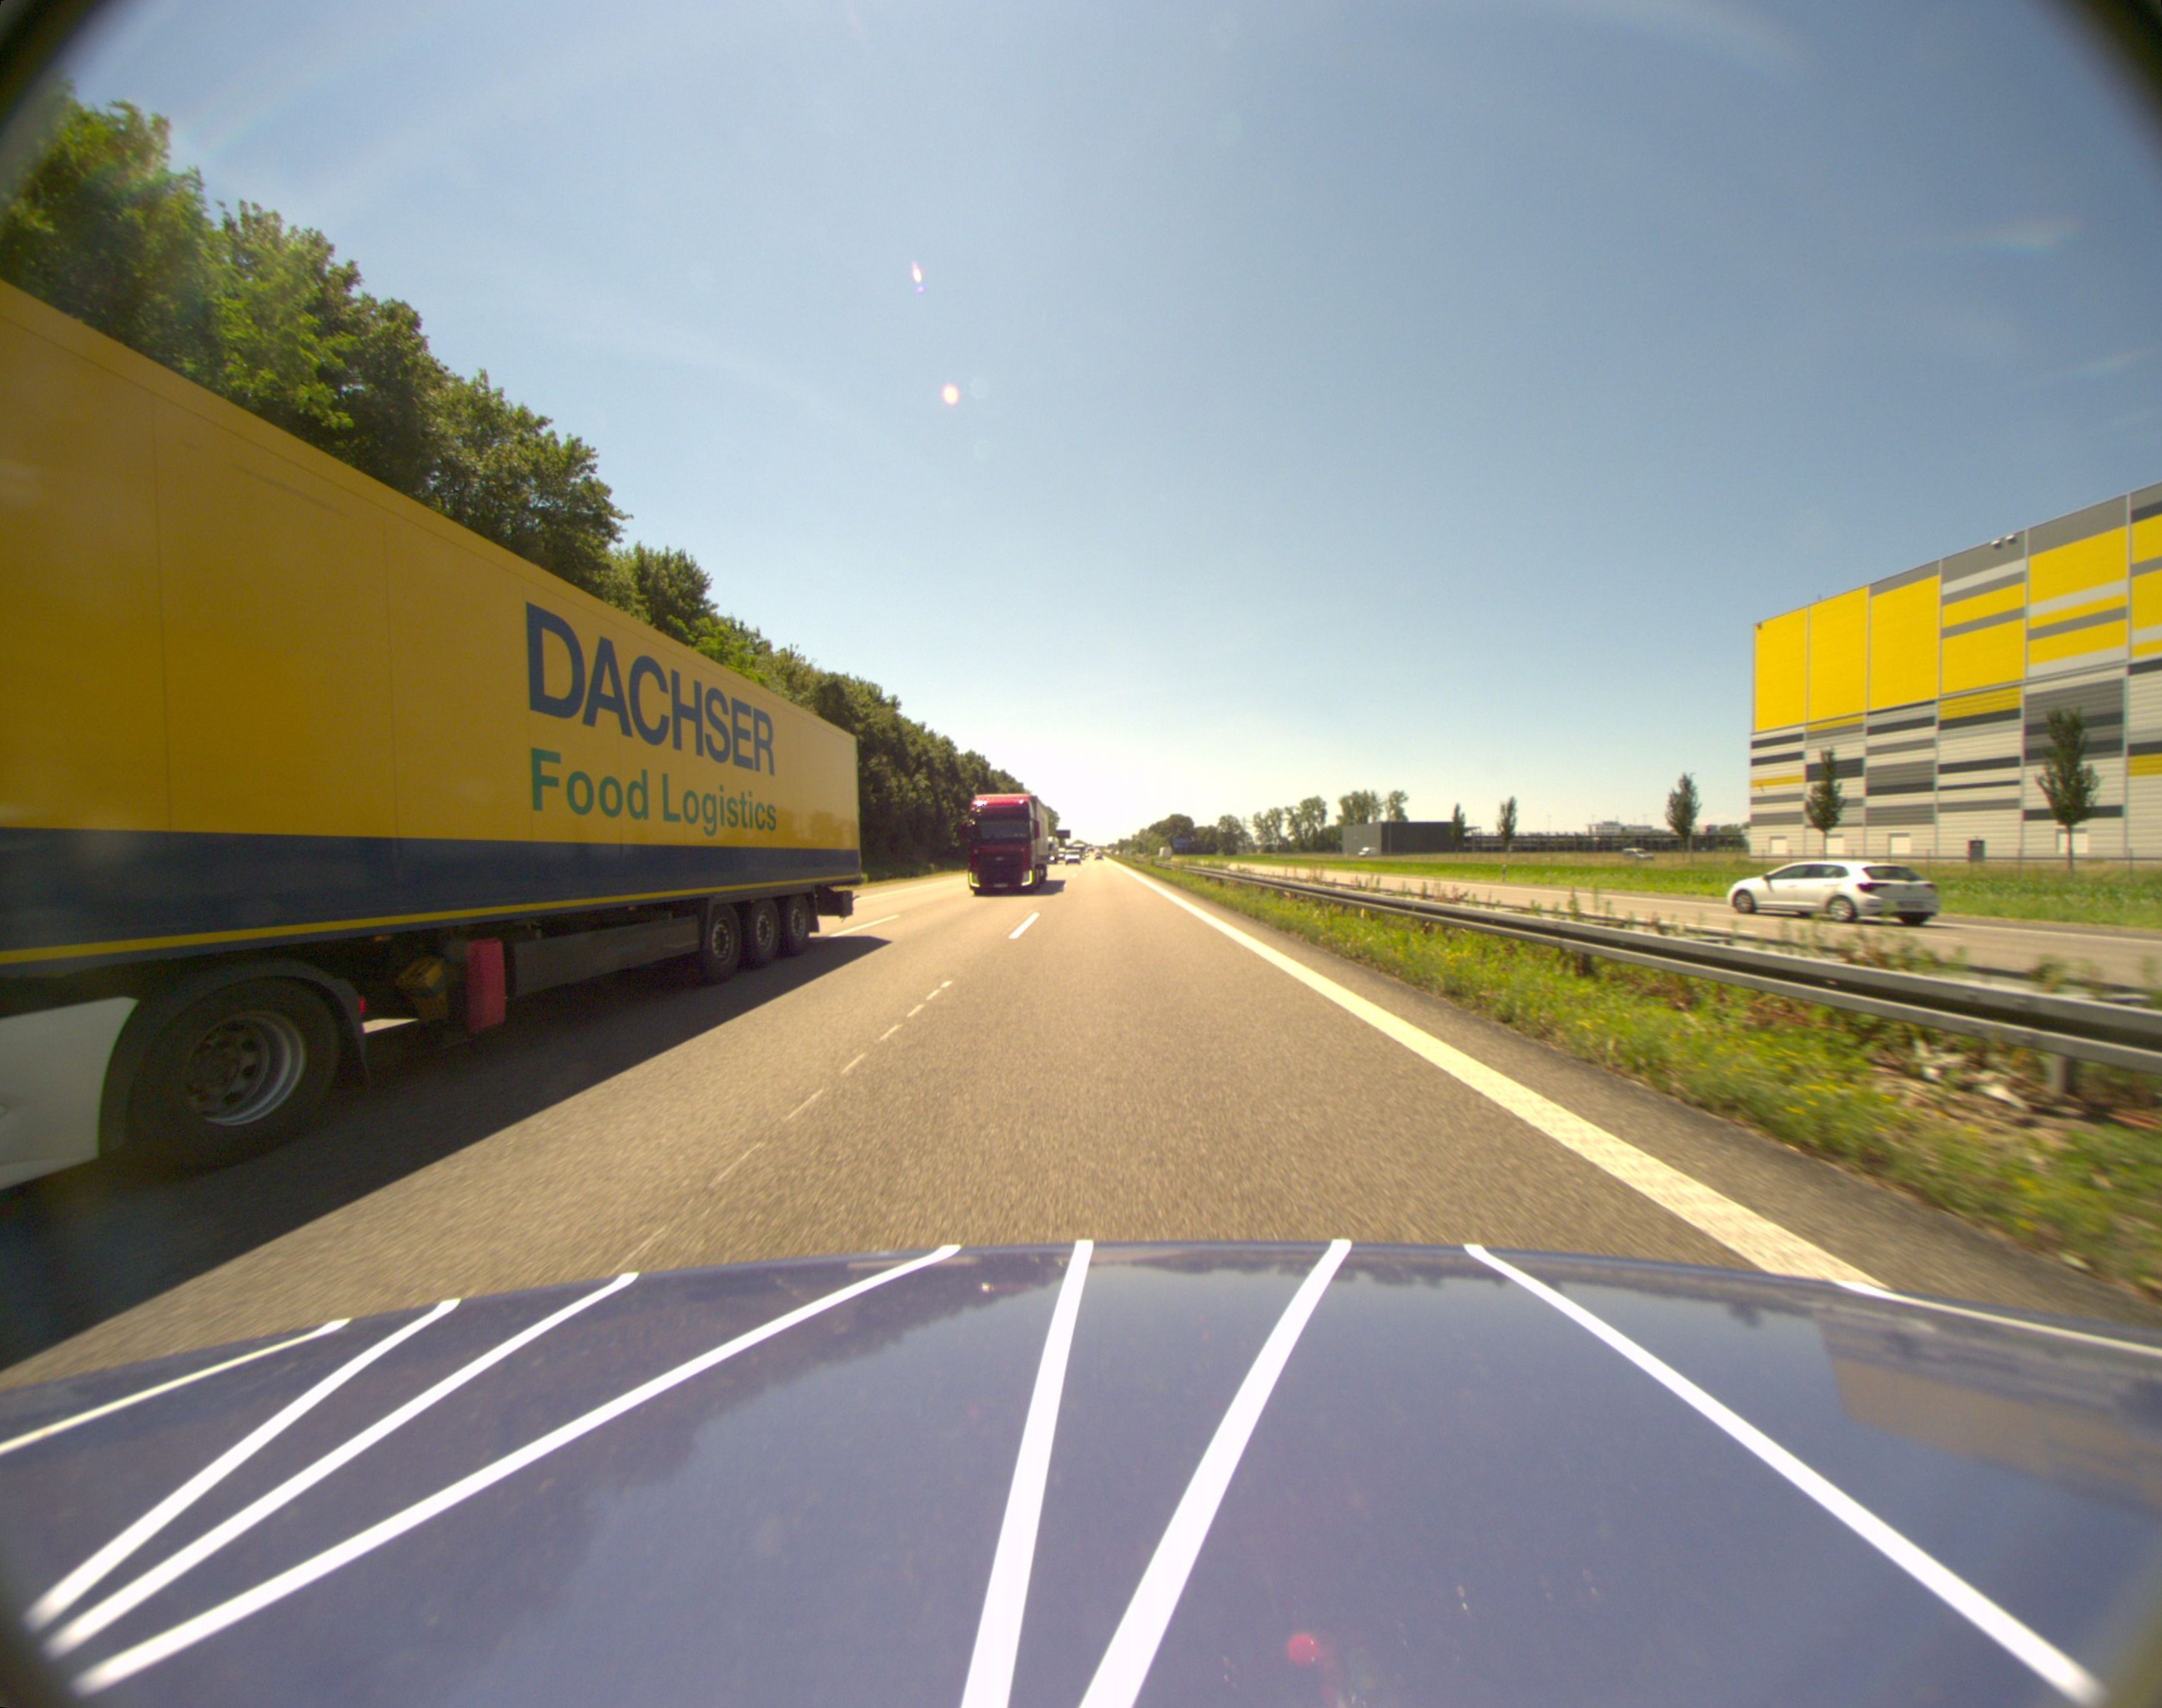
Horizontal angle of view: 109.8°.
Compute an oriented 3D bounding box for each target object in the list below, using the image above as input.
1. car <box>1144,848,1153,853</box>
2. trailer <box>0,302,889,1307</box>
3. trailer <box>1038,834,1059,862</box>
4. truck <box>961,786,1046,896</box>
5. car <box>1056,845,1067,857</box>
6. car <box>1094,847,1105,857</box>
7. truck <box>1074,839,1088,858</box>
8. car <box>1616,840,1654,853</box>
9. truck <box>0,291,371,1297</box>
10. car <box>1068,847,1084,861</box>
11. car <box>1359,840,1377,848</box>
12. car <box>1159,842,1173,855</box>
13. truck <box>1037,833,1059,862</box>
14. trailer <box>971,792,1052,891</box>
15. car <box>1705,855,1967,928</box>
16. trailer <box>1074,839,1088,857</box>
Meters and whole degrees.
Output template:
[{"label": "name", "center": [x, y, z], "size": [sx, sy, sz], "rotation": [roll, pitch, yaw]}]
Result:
[{"label": "car", "center": [19.000, -0.964, 214.009], "size": [2.073, 1.520, 5.109], "rotation": [0, 0, 1]}, {"label": "trailer", "center": [-5.647, -0.234, 9.714], "size": [2.684, 4.046, 13.834], "rotation": [-2, 0, 0]}, {"label": "trailer", "center": [-5.035, -0.970, 119.537], "size": [3.057, 4.046, 13.831], "rotation": [-2, 0, -2]}, {"label": "truck", "center": [-3.047, -0.505, 31.514], "size": [2.870, 4.046, 5.770], "rotation": [-2, 1, -1]}, {"label": "car", "center": [-4.045, -0.648, 159.036], "size": [2.073, 2.328, 5.767], "rotation": [0, 0, 0]}, {"label": "car", "center": [3.784, -0.361, 153.682], "size": [2.073, 1.959, 5.109], "rotation": [0, 0, 0]}, {"label": "truck", "center": [0.094, -1.295, 169.253], "size": [2.998, 4.046, 5.771], "rotation": [-2, 1, 0]}, {"label": "car", "center": [71.593, -0.946, 98.223], "size": [1.832, 1.726, 4.269], "rotation": [0, 0, 0]}, {"label": "truck", "center": [-5.690, -0.218, 1.516], "size": [2.684, 4.046, 6.048], "rotation": [-2, 1, 0]}, {"label": "car", "center": [-0.692, -0.066, 101.259], "size": [2.073, 1.823, 5.109], "rotation": [0, 0, 0]}, {"label": "car", "center": [77.688, -2.723, 205.750], "size": [2.560, 2.235, 6.081], "rotation": [0, 0, 0]}, {"label": "car", "center": [17.312, -1.093, 155.528], "size": [2.073, 2.539, 7.934], "rotation": [0, 0, 1]}, {"label": "truck", "center": [-4.839, -0.937, 112.862], "size": [3.064, 4.046, 5.770], "rotation": [-2, 1, -2]}, {"label": "trailer", "center": [-3.136, -0.574, 38.496], "size": [2.885, 4.046, 13.833], "rotation": [-2, 0, -1]}, {"label": "car", "center": [18.122, 0.813, 18.638], "size": [1.804, 1.523, 4.631], "rotation": [0, 1, 0]}, {"label": "trailer", "center": [0.141, -1.344, 176.663], "size": [3.005, 4.046, 13.834], "rotation": [-2, 0, 0]}]
